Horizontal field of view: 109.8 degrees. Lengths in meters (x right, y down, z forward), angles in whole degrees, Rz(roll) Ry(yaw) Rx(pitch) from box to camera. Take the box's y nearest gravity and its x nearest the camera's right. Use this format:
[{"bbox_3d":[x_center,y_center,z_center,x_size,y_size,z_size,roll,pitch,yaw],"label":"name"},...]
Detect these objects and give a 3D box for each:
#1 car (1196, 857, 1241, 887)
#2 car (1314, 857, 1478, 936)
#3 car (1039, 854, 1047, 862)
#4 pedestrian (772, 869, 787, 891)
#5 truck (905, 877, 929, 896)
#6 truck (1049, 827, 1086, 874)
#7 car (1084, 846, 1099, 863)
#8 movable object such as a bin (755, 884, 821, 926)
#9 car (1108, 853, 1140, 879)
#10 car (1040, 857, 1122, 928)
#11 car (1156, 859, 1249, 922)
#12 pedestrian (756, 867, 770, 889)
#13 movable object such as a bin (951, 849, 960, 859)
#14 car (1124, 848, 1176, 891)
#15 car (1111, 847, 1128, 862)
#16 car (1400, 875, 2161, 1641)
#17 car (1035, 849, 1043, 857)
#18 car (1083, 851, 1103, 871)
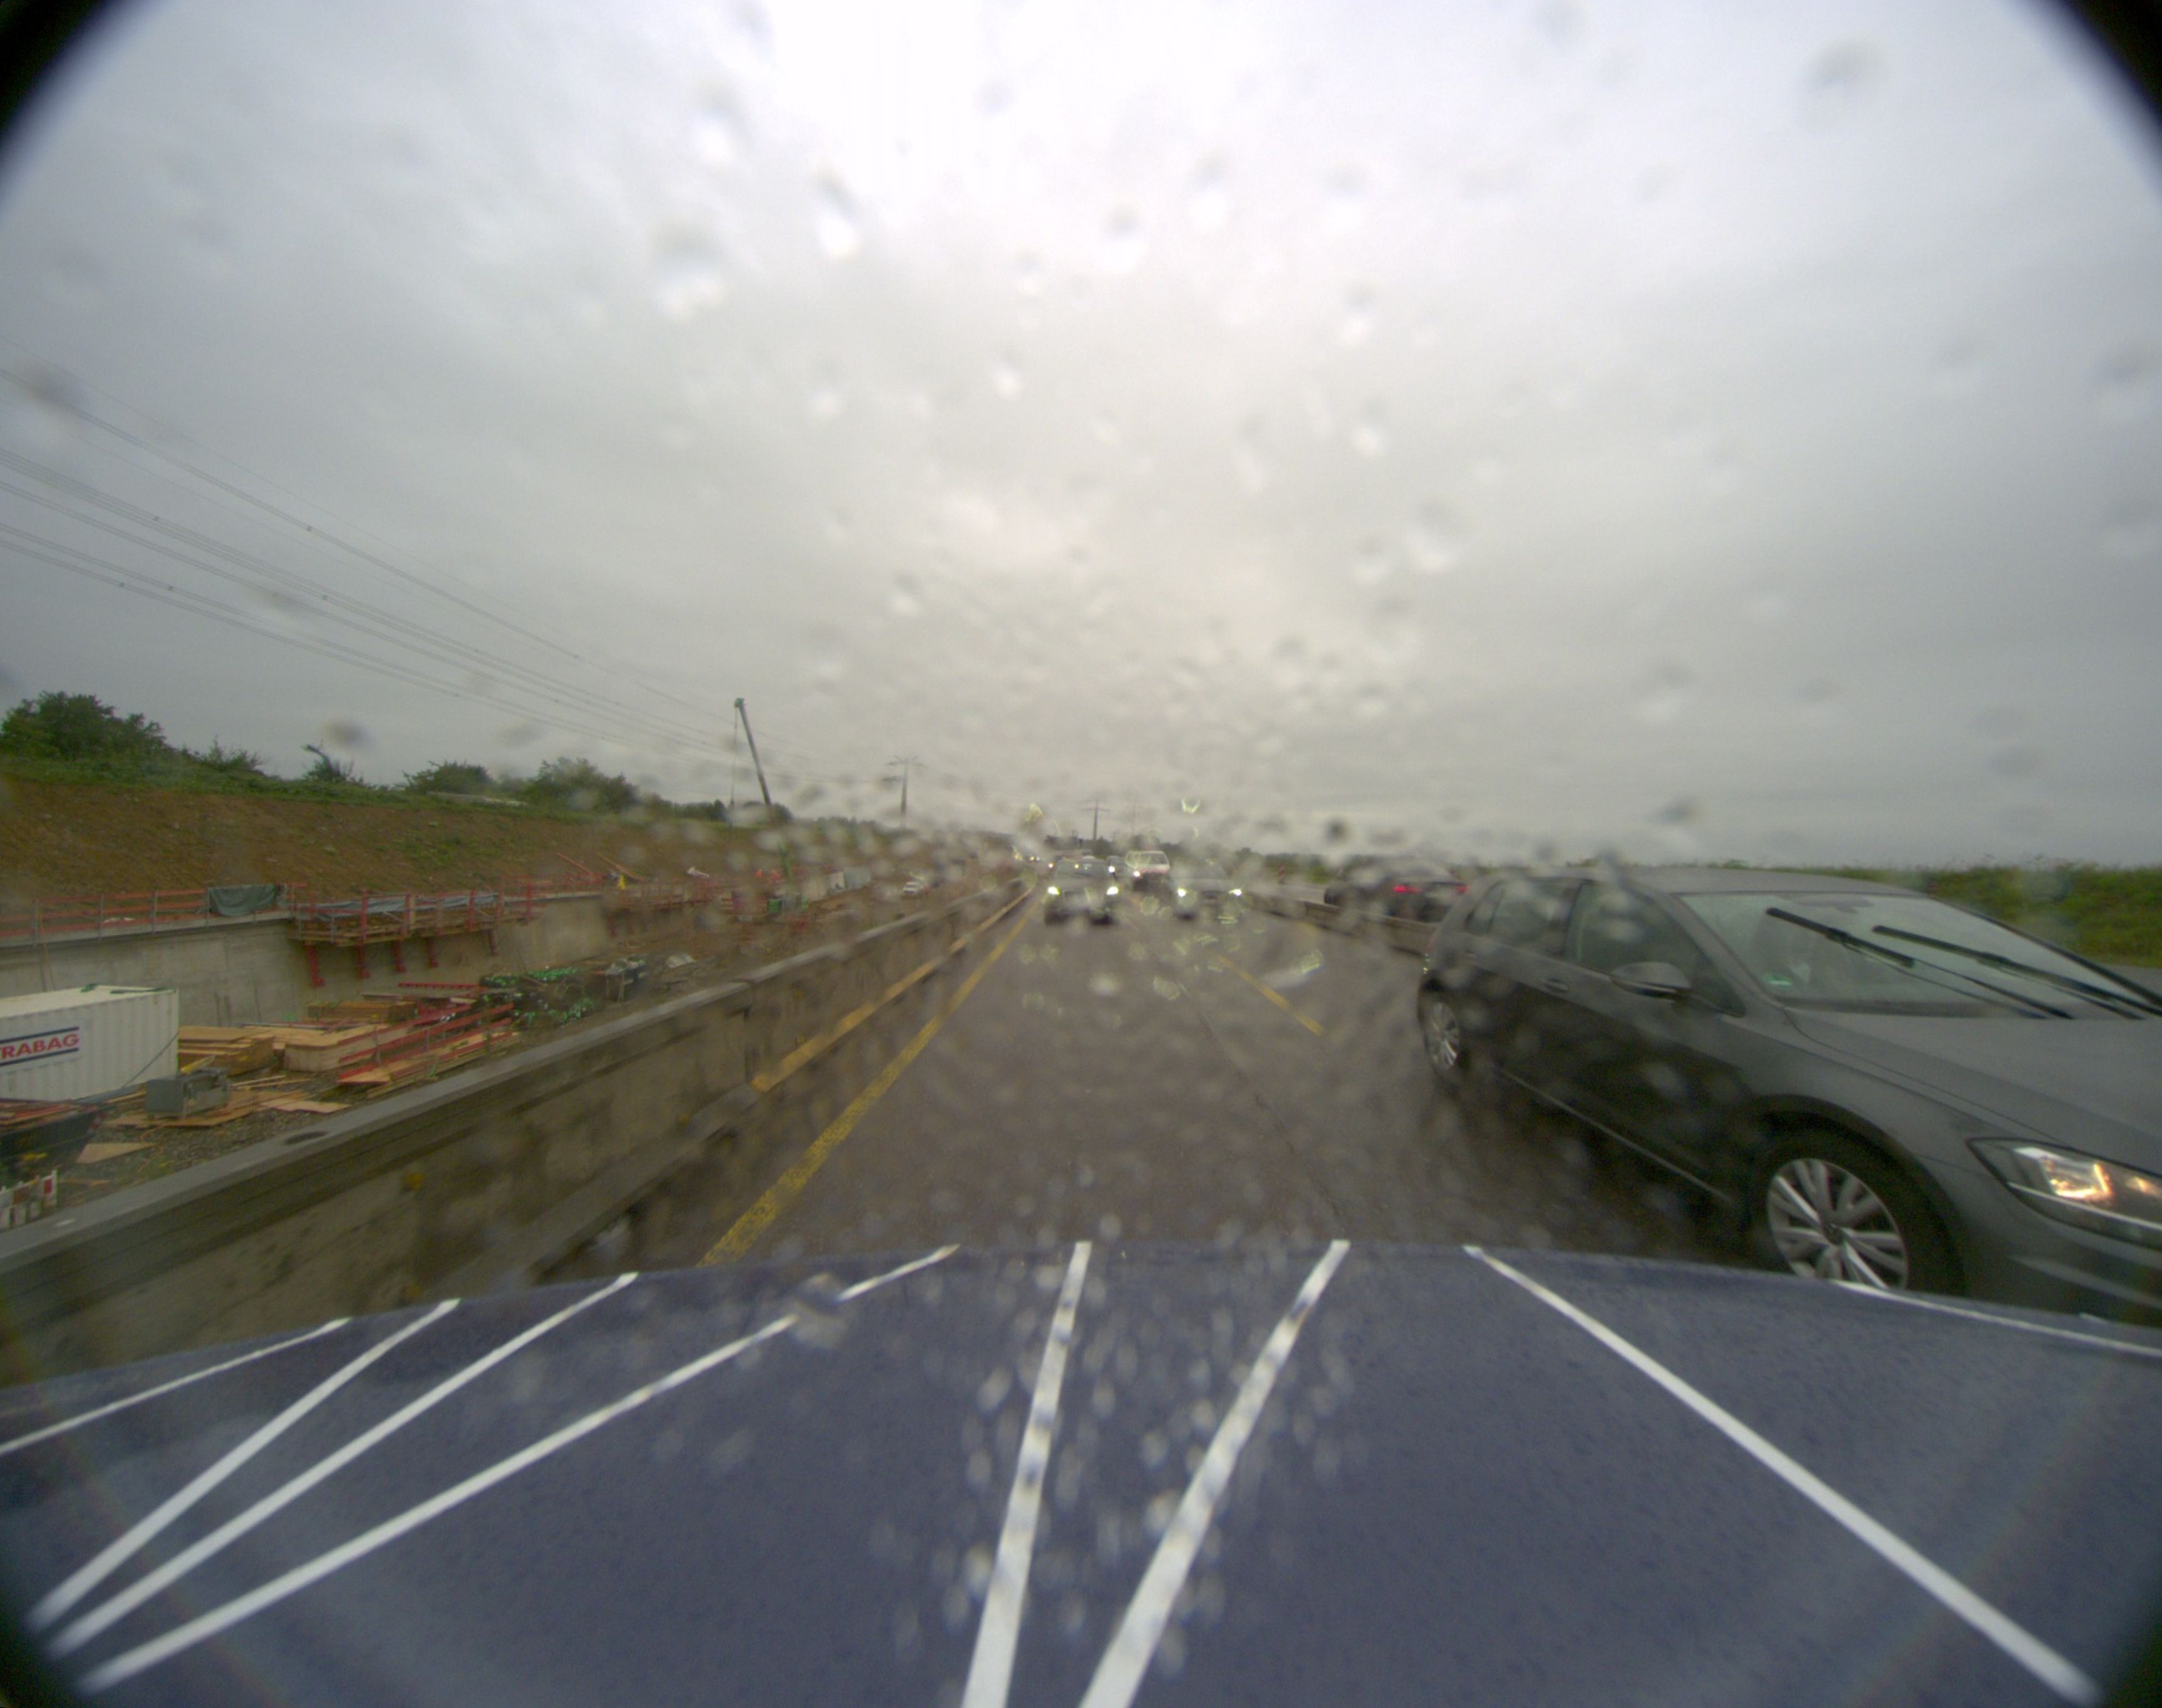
[{"bbox_3d":[7.029,0.877,39.123,1.670,1.457,3.732,-1,0,0],"label":"car"},{"bbox_3d":[7.247,0.892,18.118,1.923,1.576,4.895,-1,0,1],"label":"car"},{"bbox_3d":[-8.966,0.919,179.613,1.800,1.850,4.285,-1,1,-3],"label":"car"},{"bbox_3d":[-32.173,2.778,81.123,0.917,2.219,1.005,-5,2,1],"label":"pedestrian"},{"bbox_3d":[-19.300,3.783,89.530,1.767,1.860,5.784,1,1,-3],"label":"truck"},{"bbox_3d":[-1.242,-0.356,63.653,2.837,3.617,9.117,-1,1,-2],"label":"truck"},{"bbox_3d":[1.585,0.038,117.855,2.029,2.534,5.957,1,0,-1],"label":"car"},{"bbox_3d":[-24.493,4.226,63.858,3.803,2.790,4.848,0,6,-3],"label":"movable object such as a bin"},{"bbox_3d":[2.768,0.745,49.715,1.800,1.521,4.066,-1,1,-2],"label":"car"},{"bbox_3d":[0.062,0.870,19.183,1.799,1.524,4.308,-1,0,2],"label":"car"},{"bbox_3d":[3.129,0.902,20.437,1.799,1.389,4.268,-1,1,0],"label":"car"},{"bbox_3d":[-33.711,2.508,80.597,0.918,2.233,1.005,-5,2,-6],"label":"pedestrian"},{"bbox_3d":[-35.336,0.083,213.935,2.253,2.703,3.997,-1,1,-6],"label":"movable object such as a bin"},{"bbox_3d":[3.232,0.659,36.704,2.160,1.848,5.179,-1,1,2],"label":"car"},{"bbox_3d":[4.570,0.101,90.316,1.795,1.713,4.287,-1,0,0],"label":"car"},{"bbox_3d":[3.082,0.896,3.354,1.653,1.414,4.080,0,1,0],"label":"car"},{"bbox_3d":[-11.219,-0.258,201.754,1.800,1.850,4.286,-1,1,0],"label":"car"},{"bbox_3d":[1.184,0.679,76.518,1.800,1.850,4.285,-1,1,-1],"label":"car"}]
